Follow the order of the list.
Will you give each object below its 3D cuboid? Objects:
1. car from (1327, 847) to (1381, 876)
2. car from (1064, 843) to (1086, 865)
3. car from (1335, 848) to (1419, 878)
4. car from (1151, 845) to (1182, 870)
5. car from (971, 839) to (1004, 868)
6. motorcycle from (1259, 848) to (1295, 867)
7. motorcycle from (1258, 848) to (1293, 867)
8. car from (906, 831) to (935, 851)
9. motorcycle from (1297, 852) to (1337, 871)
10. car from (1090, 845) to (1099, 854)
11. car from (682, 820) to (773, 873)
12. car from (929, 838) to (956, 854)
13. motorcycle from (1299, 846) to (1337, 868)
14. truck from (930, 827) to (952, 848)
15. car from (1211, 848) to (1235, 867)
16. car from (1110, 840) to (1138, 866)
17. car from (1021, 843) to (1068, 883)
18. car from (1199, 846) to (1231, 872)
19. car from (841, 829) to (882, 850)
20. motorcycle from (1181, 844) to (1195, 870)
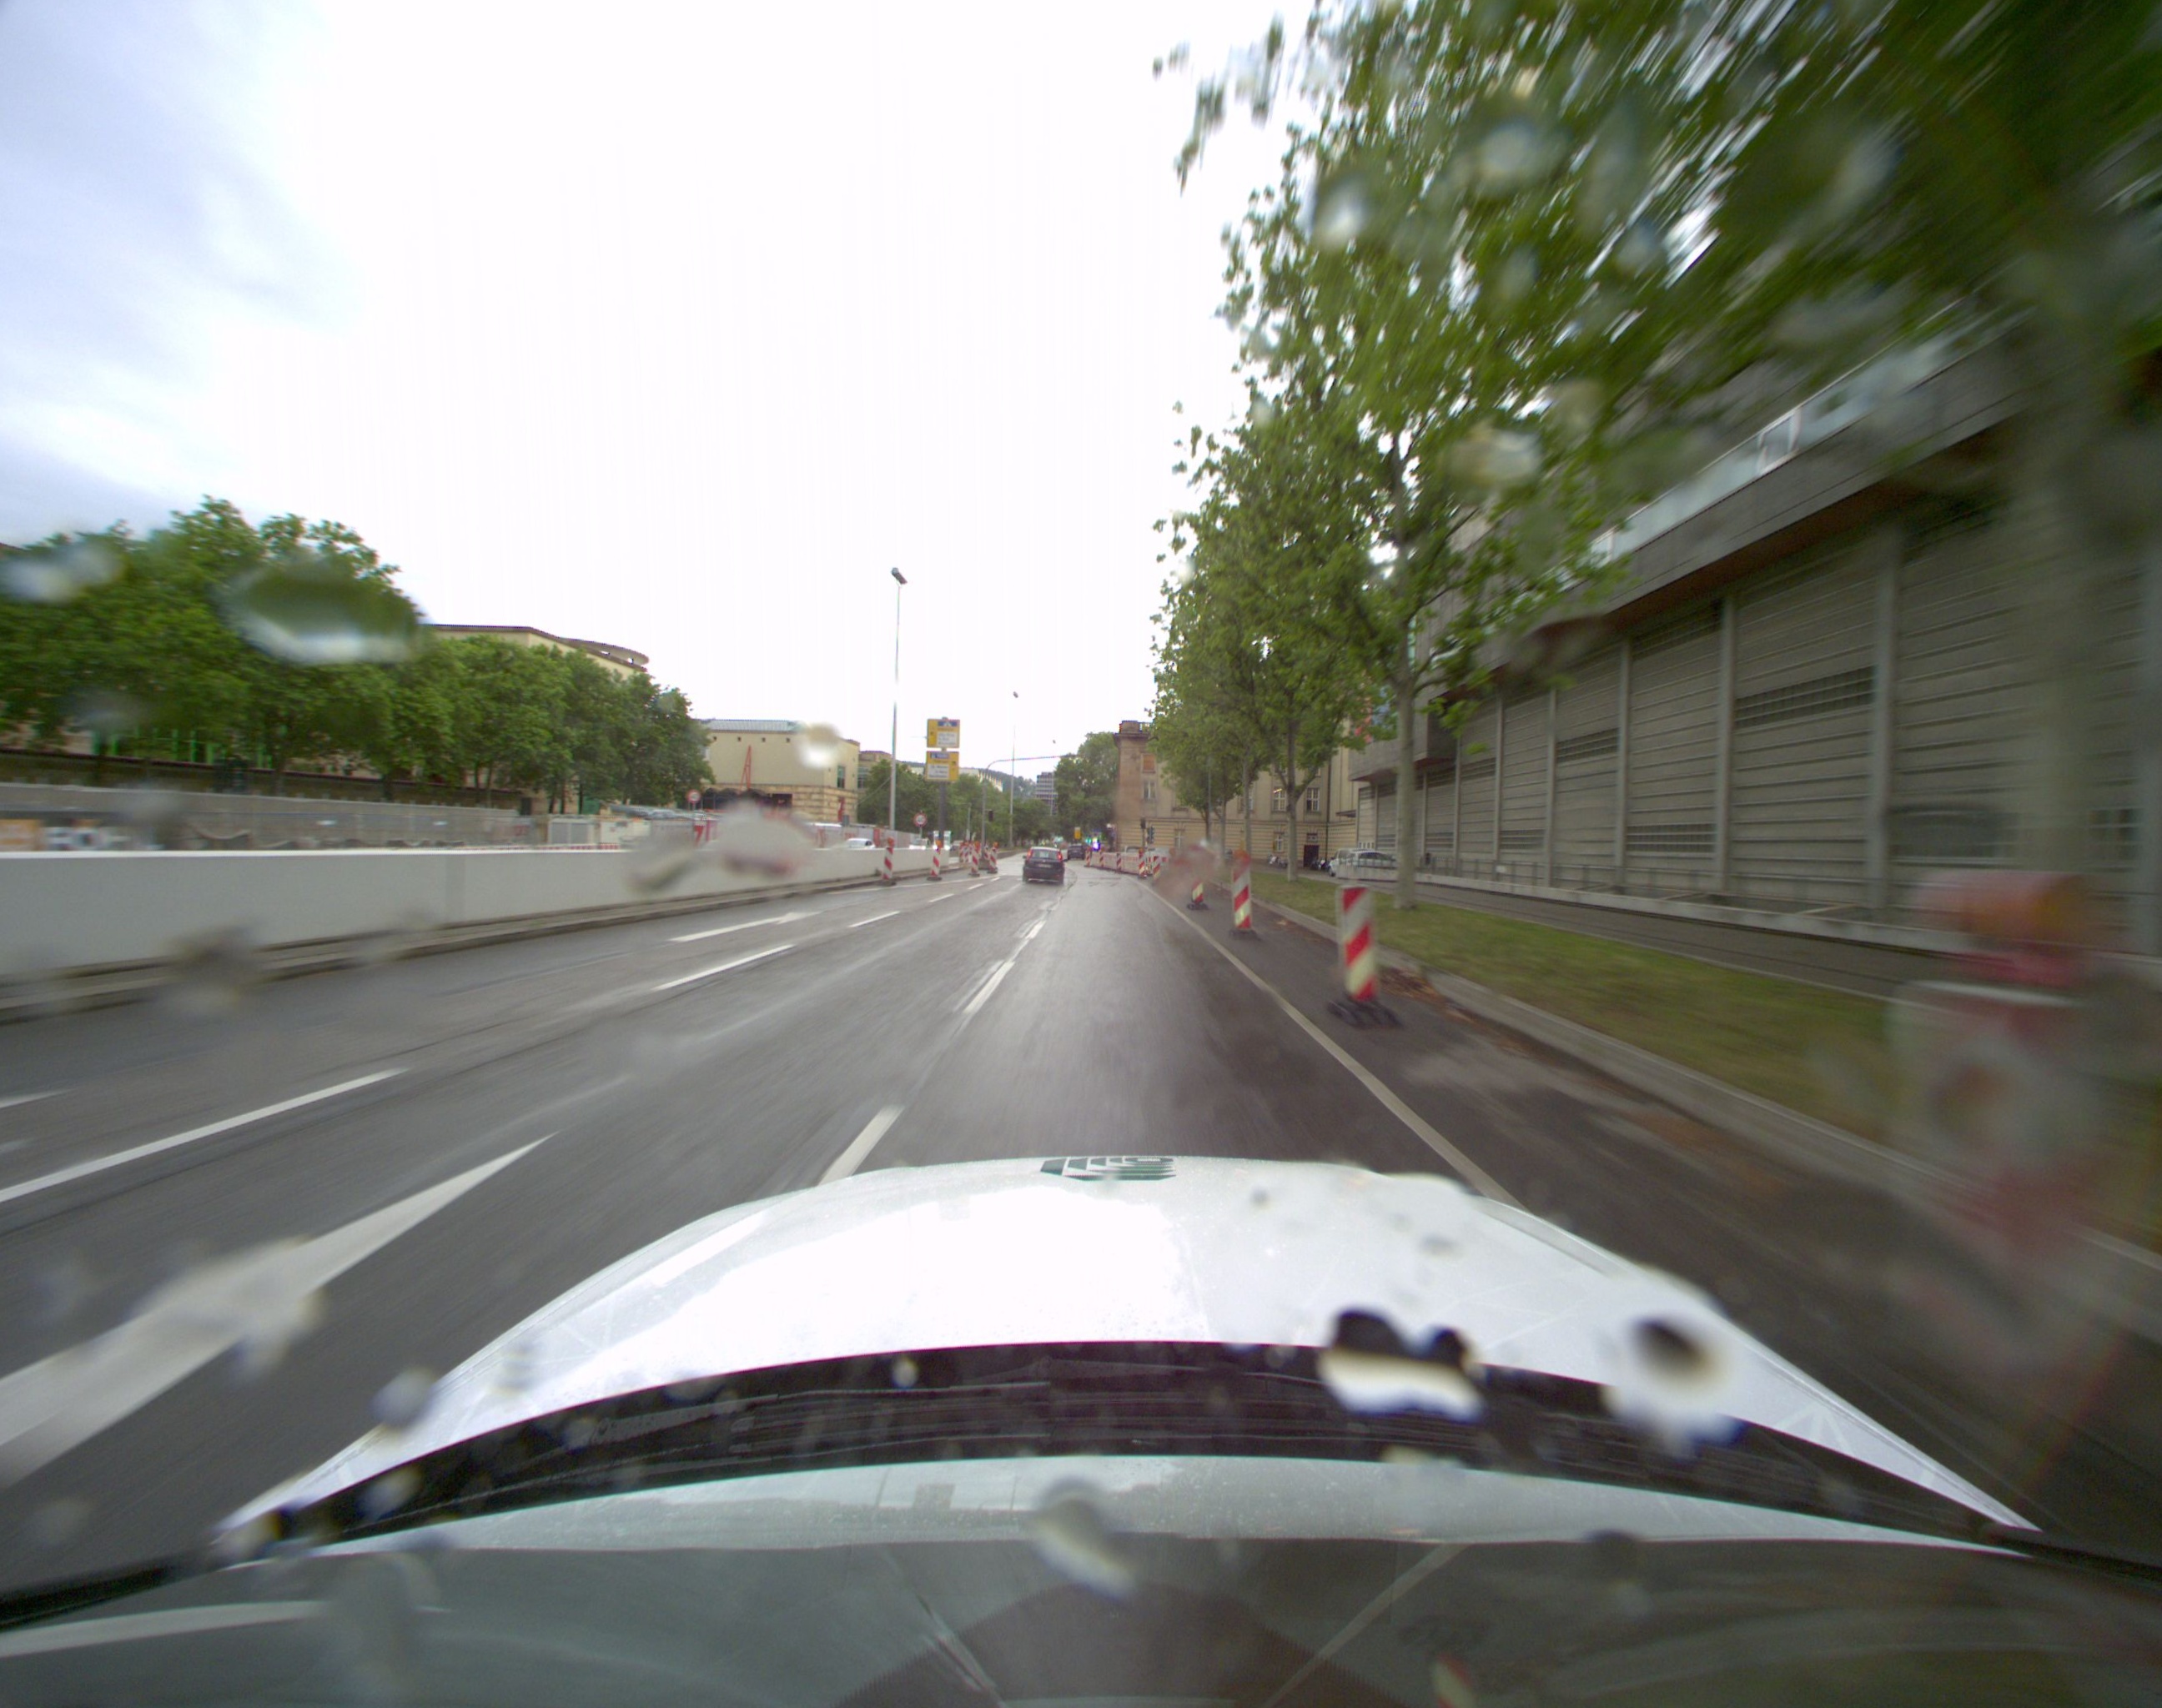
[{"bbox_3d":[17.719,0.508,53.188,1.986,1.760,5.099,2,-1,2],"label":"car"},{"bbox_3d":[-0.586,-0.032,84.576,1.986,2.013,4.002,3,1,1],"label":"car"},{"bbox_3d":[16.398,0.515,45.266,3.971,1.560,1.934,1,-2,2],"label":"car"},{"bbox_3d":[6.448,0.240,61.945,1.986,1.708,4.002,3,1,1],"label":"car"},{"bbox_3d":[-4.679,-0.020,40.927,1.382,1.386,3.064,1,0,-3],"label":"car"},{"bbox_3d":[18.798,0.348,78.085,3.147,1.543,0.891,4,-1,4],"label":"motorcycle"},{"bbox_3d":[18.906,0.331,79.110,3.145,1.543,0.891,4,-1,6],"label":"motorcycle"},{"bbox_3d":[-14.063,-1.077,71.631,1.663,1.522,4.000,4,-1,0],"label":"car"},{"bbox_3d":[22.370,0.751,77.237,3.336,1.531,1.153,4,-1,3],"label":"motorcycle"},{"bbox_3d":[3.624,-1.214,219.236,1.989,2.014,3.995,4,-1,-3],"label":"car"},{"bbox_3d":[-15.078,-0.328,34.981,1.986,2.013,4.001,4,1,1],"label":"car"},{"bbox_3d":[-14.652,-0.821,86.438,1.987,1.479,3.999,4,-1,0],"label":"car"},{"bbox_3d":[23.137,0.297,79.594,3.335,2.014,1.153,2,-1,3],"label":"motorcycle"},{"bbox_3d":[-17.834,-2.067,103.669,2.411,2.339,5.429,4,-1,-8],"label":"truck"},{"bbox_3d":[14.108,0.356,80.968,1.983,1.708,4.007,3,0,6],"label":"car"},{"bbox_3d":[3.190,-0.119,61.121,1.986,1.708,4.002,3,1,1],"label":"car"},{"bbox_3d":[-1.440,0.319,33.336,1.665,1.427,3.757,4,1,0],"label":"car"},{"bbox_3d":[9.869,0.353,60.201,1.983,1.708,4.008,3,1,6],"label":"car"},{"bbox_3d":[-14.277,-0.930,53.061,1.620,1.195,3.406,4,1,1],"label":"car"},{"bbox_3d":[7.957,0.184,60.548,0.826,1.830,3.148,2,1,6],"label":"motorcycle"}]
